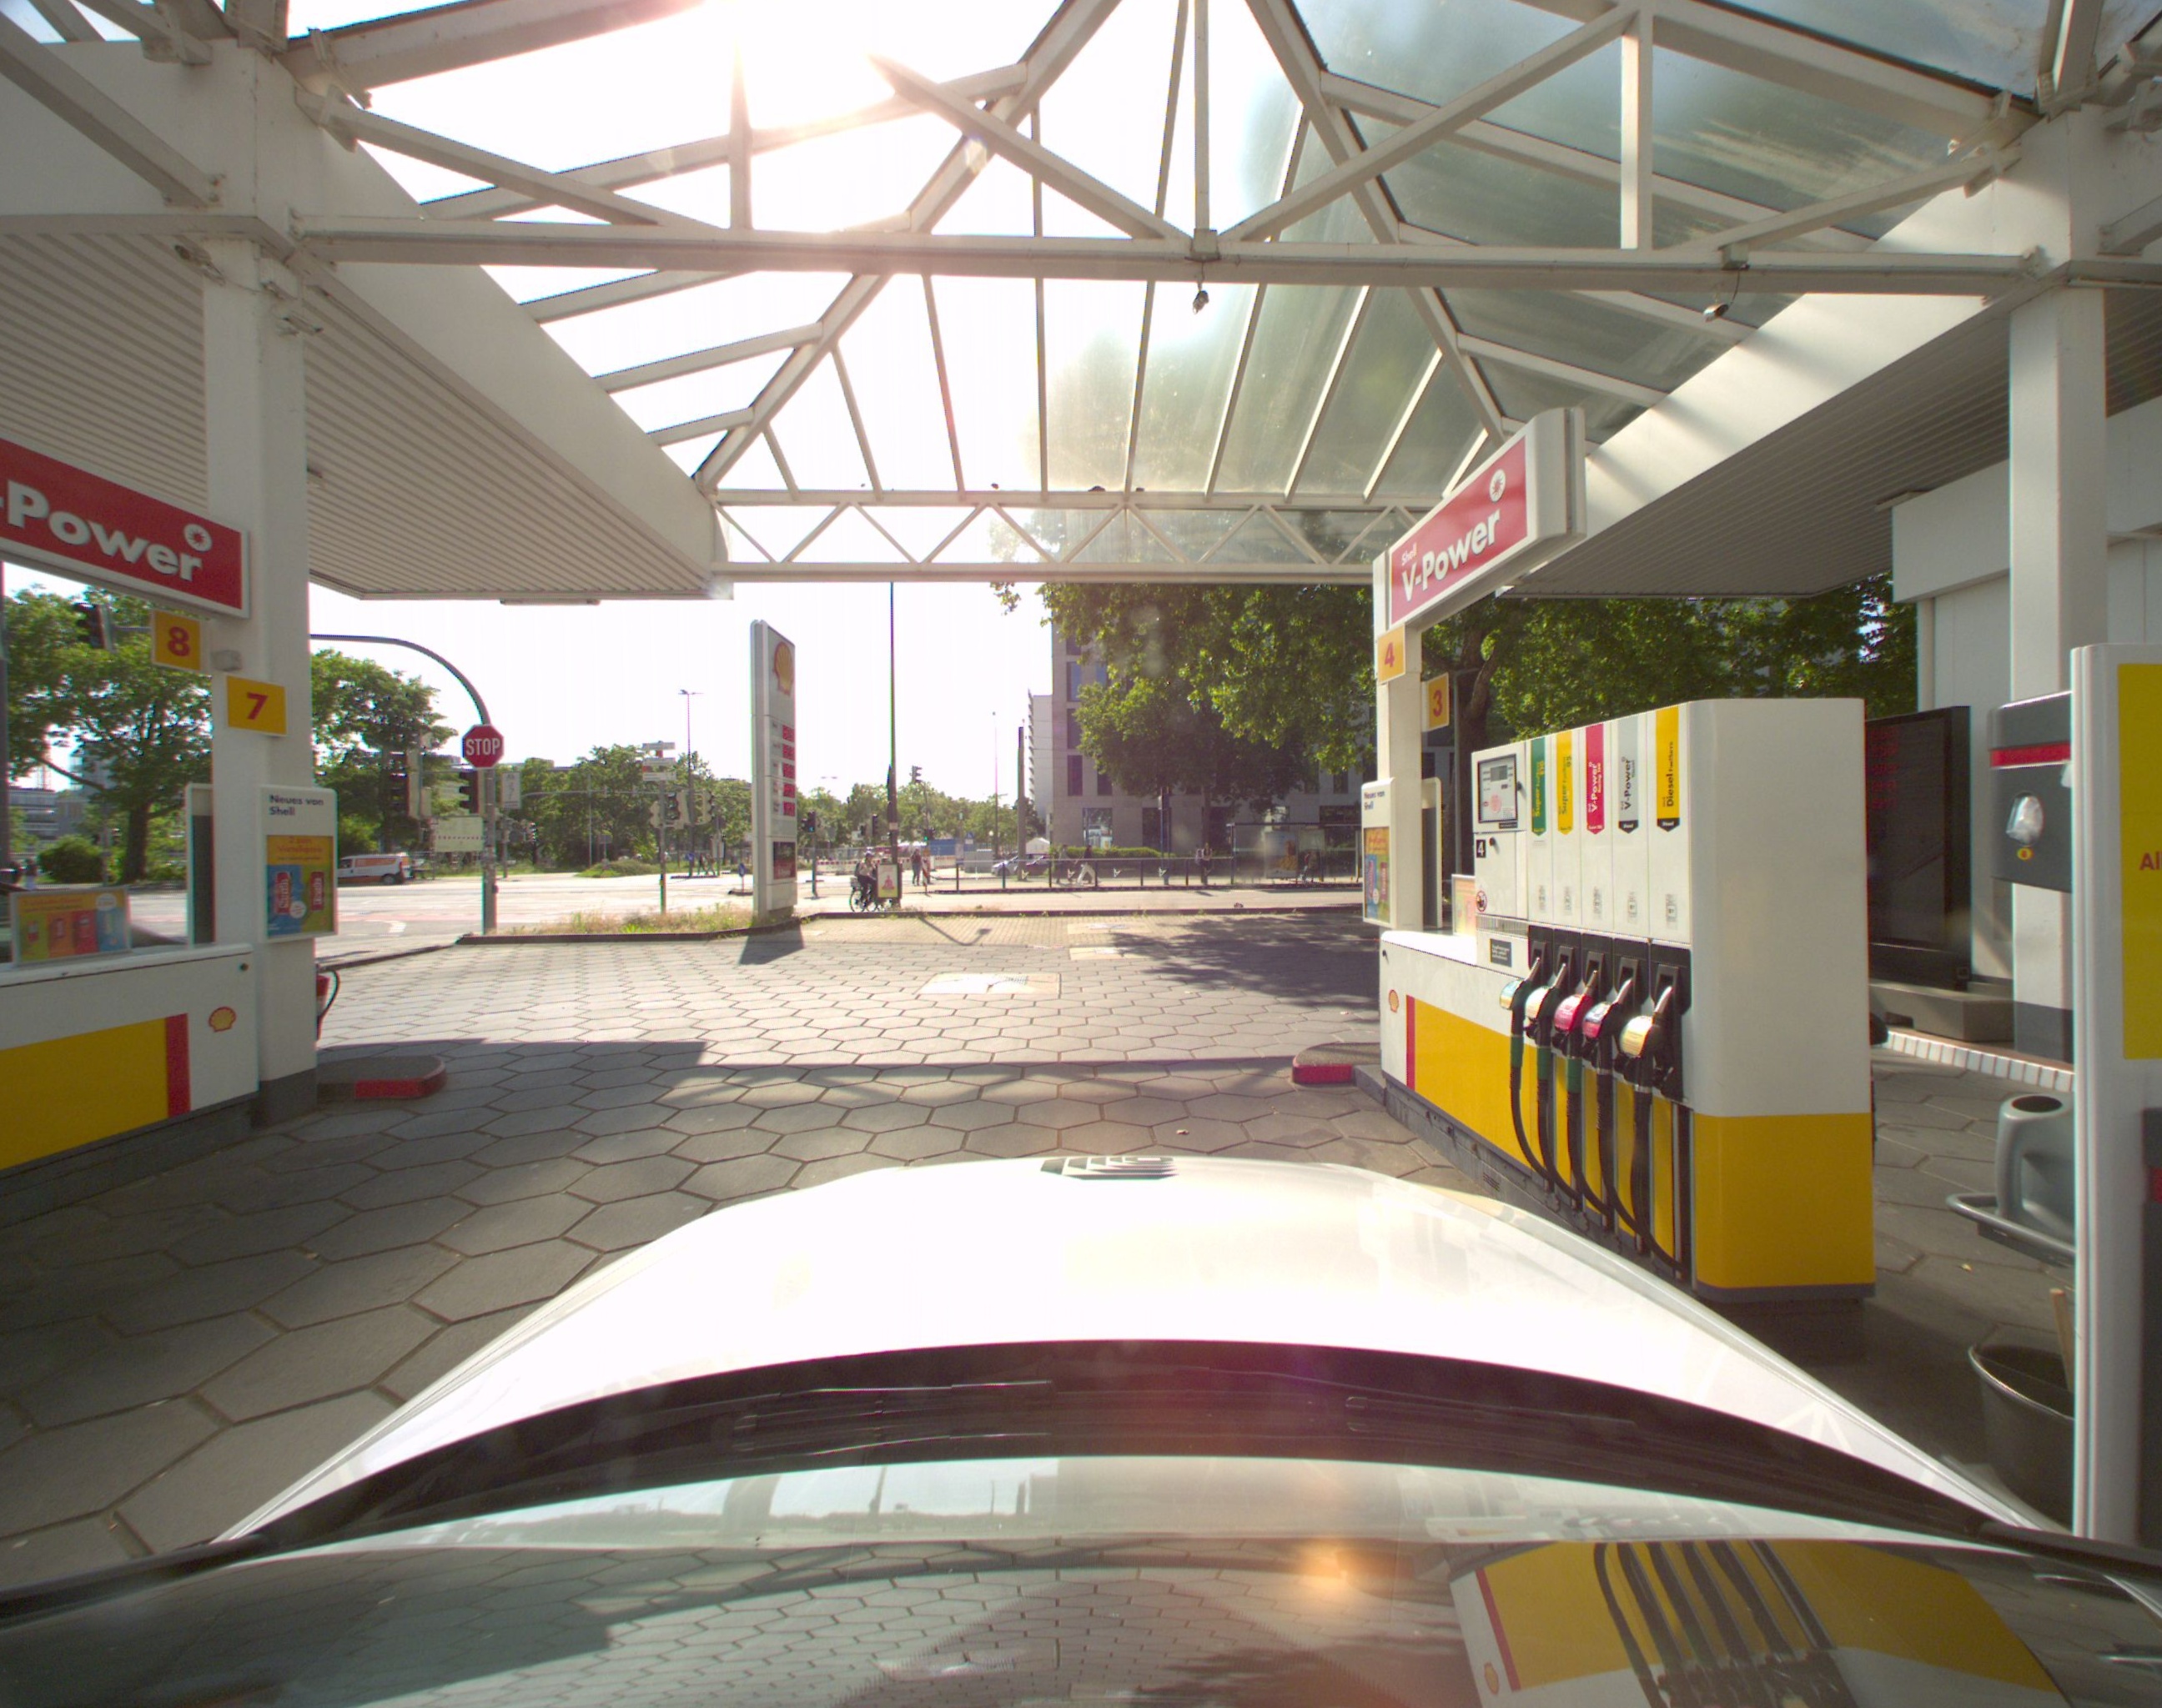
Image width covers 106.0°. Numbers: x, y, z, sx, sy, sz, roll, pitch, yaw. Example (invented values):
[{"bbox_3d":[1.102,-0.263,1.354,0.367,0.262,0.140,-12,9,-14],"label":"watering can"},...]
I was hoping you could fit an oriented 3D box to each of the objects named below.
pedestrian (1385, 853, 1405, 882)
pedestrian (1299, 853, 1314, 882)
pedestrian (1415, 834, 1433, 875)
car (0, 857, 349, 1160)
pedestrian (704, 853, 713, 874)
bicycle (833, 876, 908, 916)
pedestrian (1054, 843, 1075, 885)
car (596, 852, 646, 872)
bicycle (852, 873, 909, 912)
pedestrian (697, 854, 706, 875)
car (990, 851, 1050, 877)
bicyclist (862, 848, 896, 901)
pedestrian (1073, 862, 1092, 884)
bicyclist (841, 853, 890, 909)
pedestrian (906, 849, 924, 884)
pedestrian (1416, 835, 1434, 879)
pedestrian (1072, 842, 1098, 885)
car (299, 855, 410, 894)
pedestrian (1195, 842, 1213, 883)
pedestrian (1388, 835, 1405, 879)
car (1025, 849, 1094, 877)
[{"bbox_3d":[12.630,0.539,32.778,0.625,1.138,0.525,-1,0,4],"label":"pedestrian"},{"bbox_3d":[9.020,0.519,32.556,0.496,1.138,0.525,-1,0,4],"label":"pedestrian"},{"bbox_3d":[14.430,0.023,34.264,0.497,1.735,0.524,-1,0,1],"label":"pedestrian"},{"bbox_3d":[-6.368,0.813,4.123,1.739,1.532,3.997,-2,0,-2],"label":"car"},{"bbox_3d":[-26.721,0.682,58.422,0.566,1.469,0.509,-1,0,-26],"label":"pedestrian"},{"bbox_3d":[-5.977,1.185,23.165,2.004,1.082,0.643,-1,0,17],"label":"bicycle"},{"bbox_3d":[-0.670,0.399,33.490,0.772,1.683,0.504,-1,0,7],"label":"pedestrian"},{"bbox_3d":[-47.554,0.813,84.187,3.971,1.816,2.001,-3,0,2],"label":"car"},{"bbox_3d":[-6.024,1.134,24.399,1.843,1.082,0.528,0,0,33],"label":"bicycle"},{"bbox_3d":[-27.584,0.758,59.255,0.566,1.469,0.509,-1,0,-26],"label":"pedestrian"},{"bbox_3d":[-3.872,0.593,51.486,3.679,1.552,1.588,-1,0,-8],"label":"car"},{"bbox_3d":[-6.056,0.609,24.401,0.854,1.544,0.538,-1,0,34],"label":"bicyclist"},{"bbox_3d":[0.060,0.785,33.405,0.687,0.880,0.504,-1,0,7],"label":"pedestrian"},{"bbox_3d":[-6.144,0.758,23.207,1.160,1.580,0.642,-1,0,16],"label":"bicyclist"},{"bbox_3d":[-7.371,0.569,36.190,0.647,1.540,0.504,-1,0,7],"label":"pedestrian"},{"bbox_3d":[13.807,0.119,32.713,0.497,1.735,0.524,-1,0,1],"label":"pedestrian"},{"bbox_3d":[0.168,0.367,32.300,0.927,1.683,0.504,-1,0,7],"label":"pedestrian"},{"bbox_3d":[-42.402,1.164,47.685,4.459,2.013,1.981,-3,0,-29],"label":"car"},{"bbox_3d":[4.855,0.322,32.234,0.582,1.591,0.670,-1,2,-2],"label":"pedestrian"},{"bbox_3d":[12.673,0.123,32.730,0.497,1.735,0.406,-1,0,1],"label":"pedestrian"},{"bbox_3d":[-1.296,0.528,48.758,3.984,1.552,1.699,-1,0,-8],"label":"car"}]
